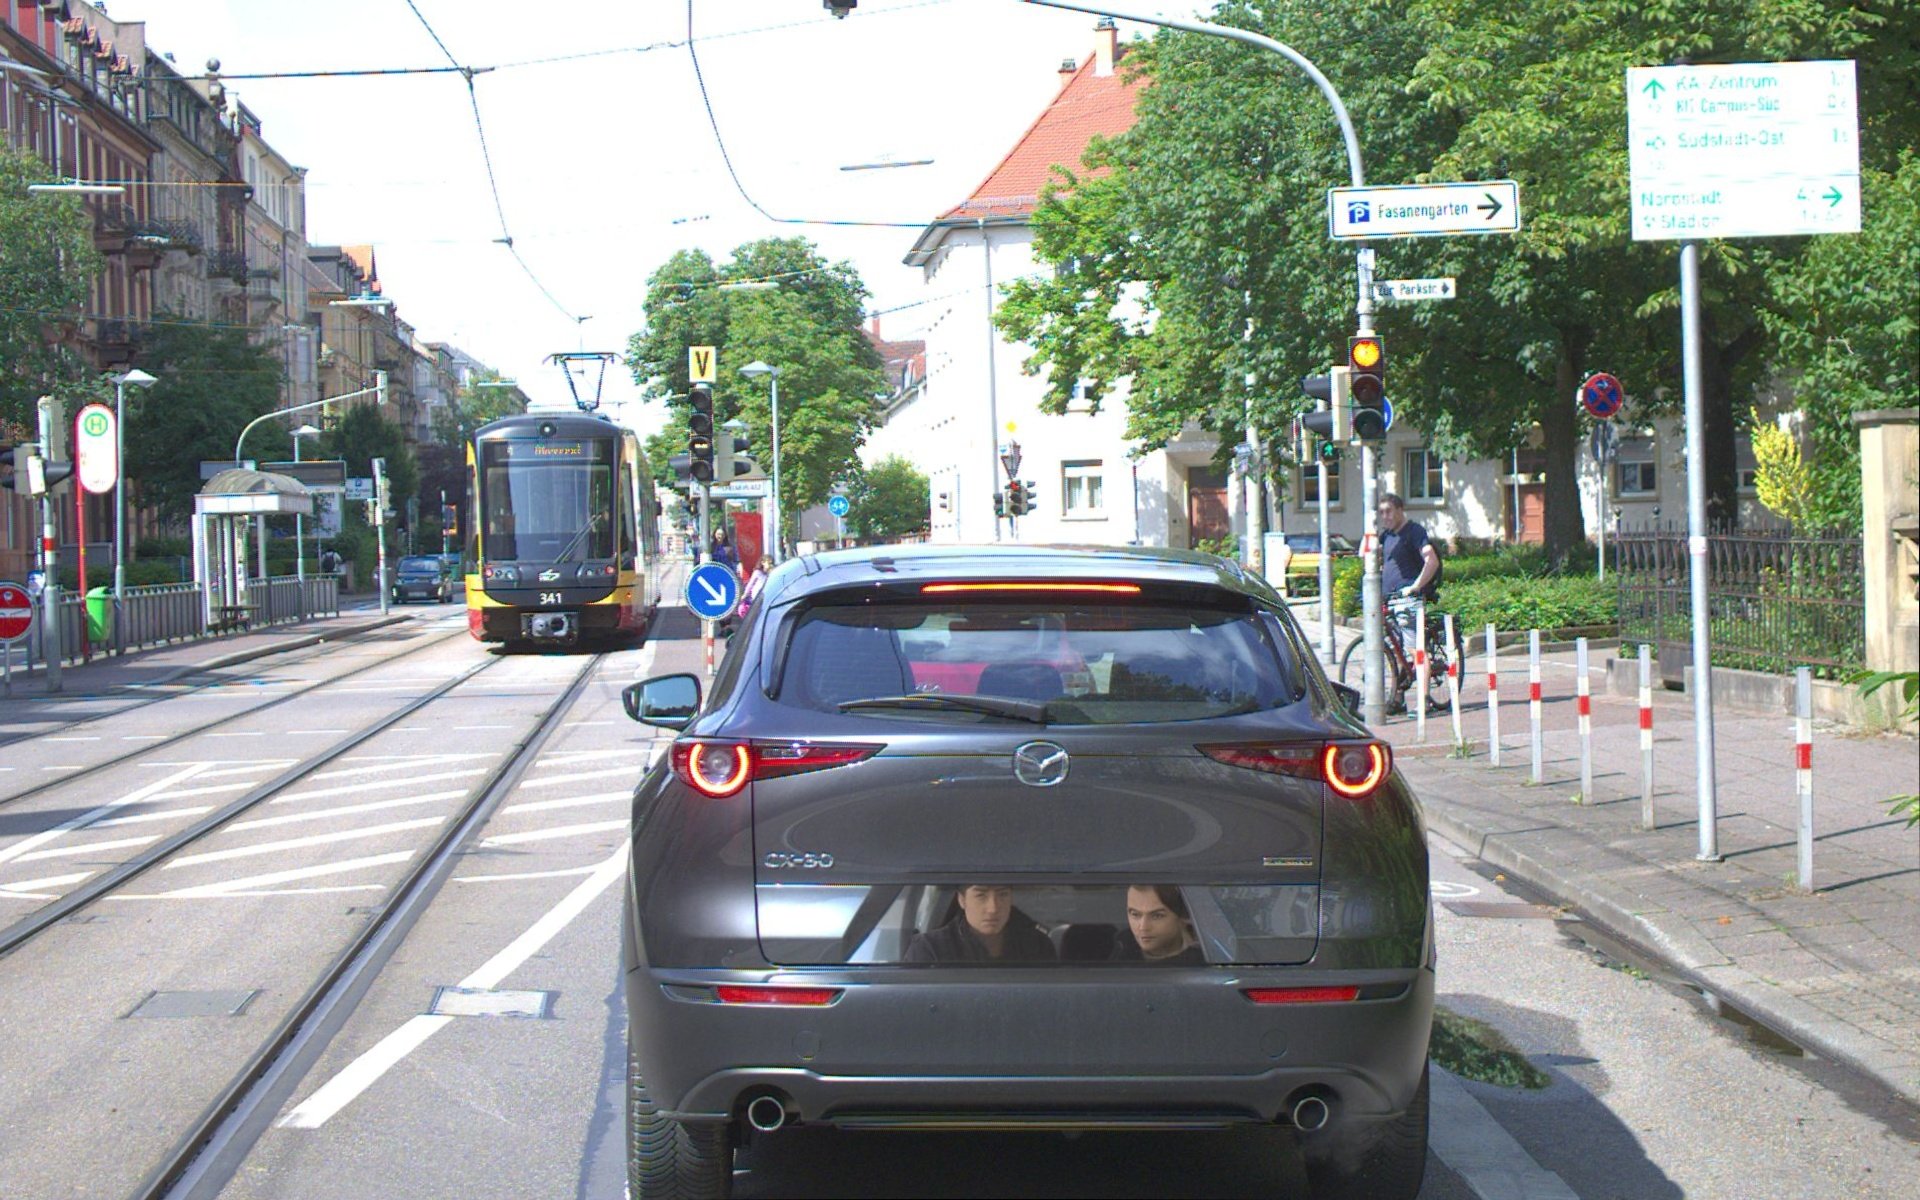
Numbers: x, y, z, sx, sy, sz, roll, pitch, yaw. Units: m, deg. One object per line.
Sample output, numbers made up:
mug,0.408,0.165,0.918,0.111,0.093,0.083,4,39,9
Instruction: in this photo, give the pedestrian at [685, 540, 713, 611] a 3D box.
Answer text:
pedestrian,-3.967,-0.372,52.254,0.379,1.067,0.474,-1,1,-5

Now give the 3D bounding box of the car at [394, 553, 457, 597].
car,-16.499,-0.783,106.208,1.614,1.305,3.628,-1,1,-4

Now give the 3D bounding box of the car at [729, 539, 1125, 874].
car,-0.190,0.448,17.571,1.778,1.494,4.000,1,1,-1

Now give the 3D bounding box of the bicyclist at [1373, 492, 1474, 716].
bicyclist,3.767,0.028,27.972,0.608,1.786,0.658,-1,1,-10

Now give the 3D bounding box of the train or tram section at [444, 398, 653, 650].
train or tram section,-6.414,-1.312,55.432,2.752,3.478,14.411,-2,2,-5

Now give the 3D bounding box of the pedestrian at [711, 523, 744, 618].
pedestrian,-3.540,-0.448,52.326,0.450,1.429,0.474,-1,1,-5

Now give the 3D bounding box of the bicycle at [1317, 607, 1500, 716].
bicycle,3.711,0.494,28.377,1.694,0.821,0.494,-2,1,-42

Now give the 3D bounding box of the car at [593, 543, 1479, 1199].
car,0.112,0.616,8.954,1.778,1.494,4.000,1,1,-1

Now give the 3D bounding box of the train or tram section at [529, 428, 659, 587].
train or tram section,-8.819,-2.311,84.103,2.752,3.478,14.411,-2,2,-5

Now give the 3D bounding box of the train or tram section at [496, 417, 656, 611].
train or tram section,-7.620,-1.810,69.762,2.752,3.478,14.411,-2,2,-5
